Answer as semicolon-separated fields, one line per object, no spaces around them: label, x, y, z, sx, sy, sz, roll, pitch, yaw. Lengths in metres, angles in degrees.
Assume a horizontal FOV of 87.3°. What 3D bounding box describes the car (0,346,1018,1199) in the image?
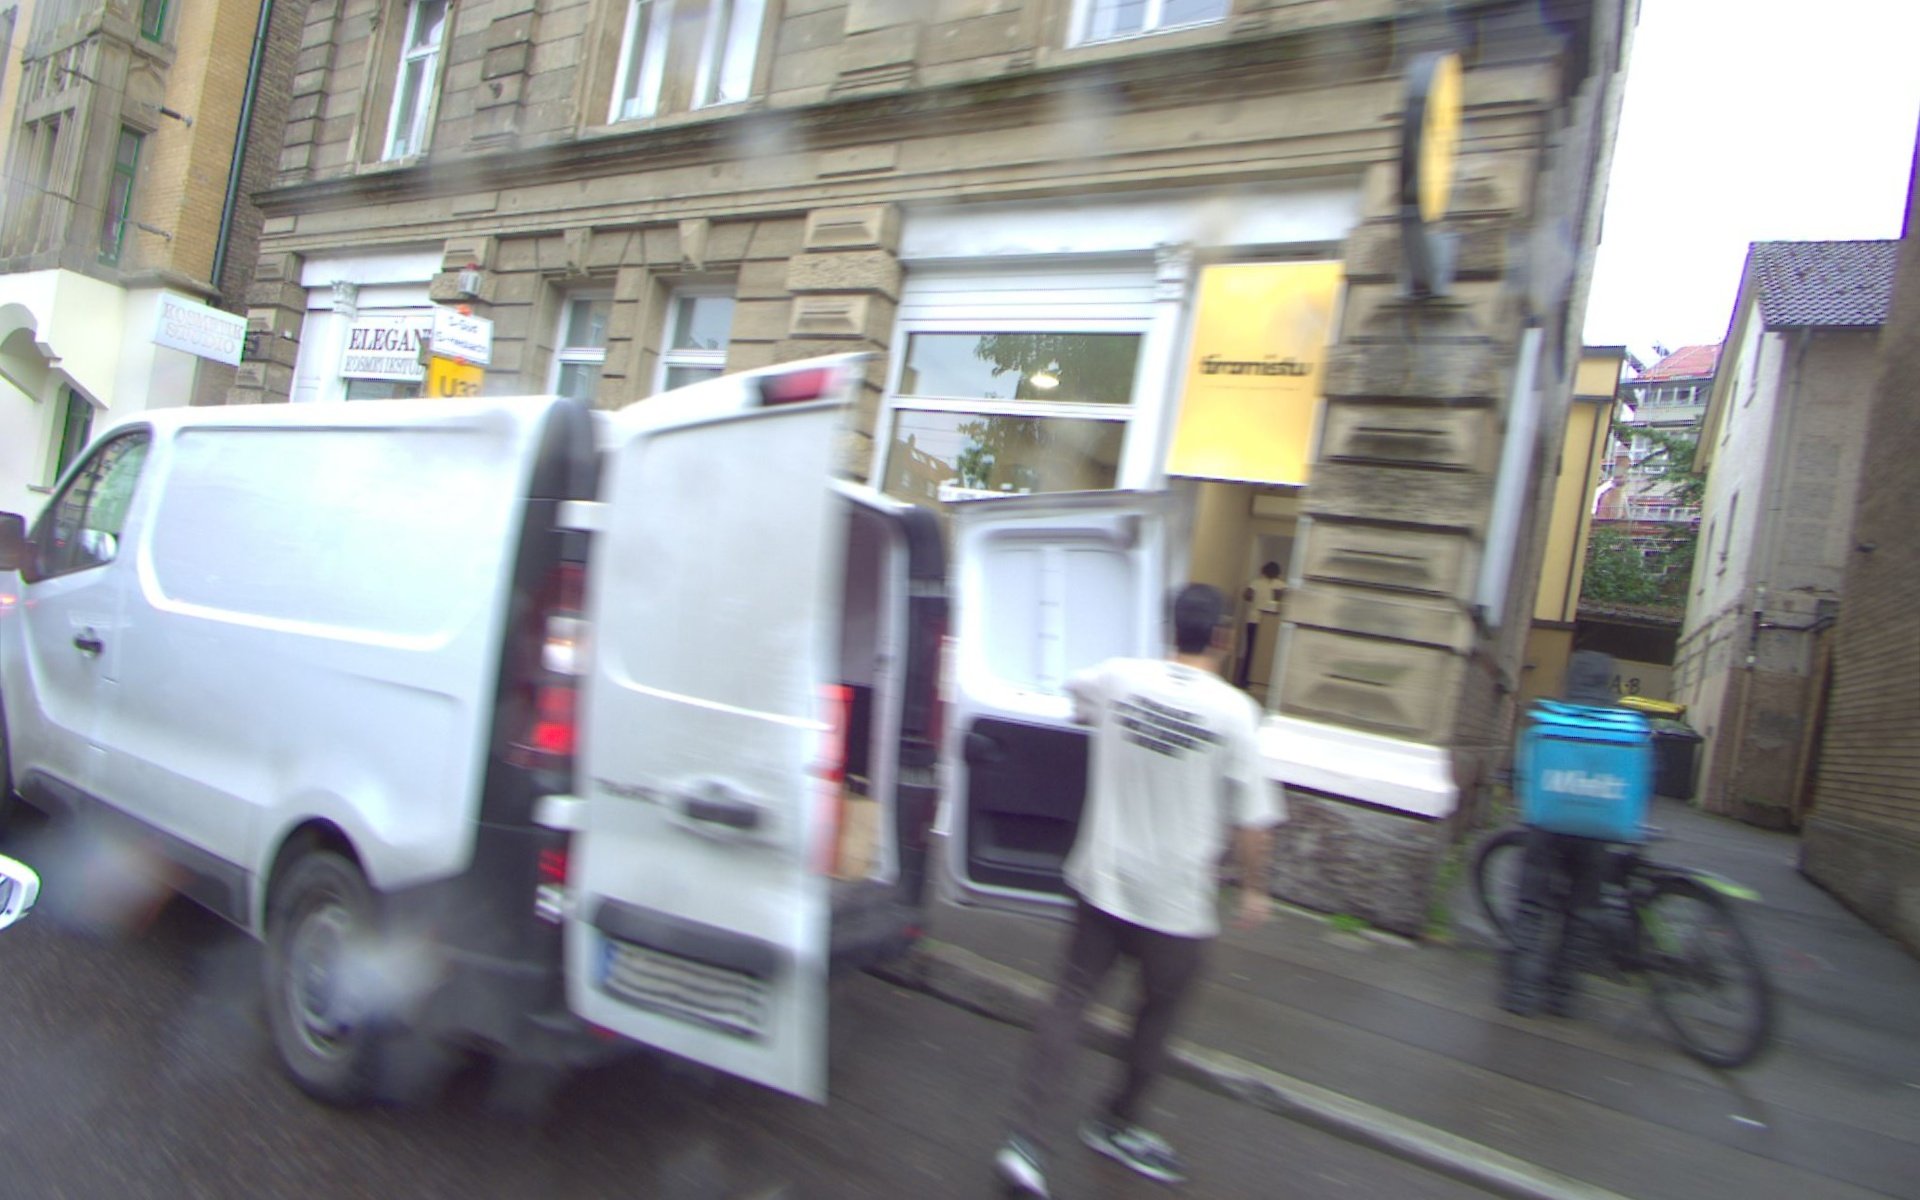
car;-2.334;0.307;4.253;4.609;1.957;1.925;7;-3;33

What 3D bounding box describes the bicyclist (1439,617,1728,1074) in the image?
bicyclist;2.604;0.960;4.310;0.619;1.676;0.851;7;-1;11

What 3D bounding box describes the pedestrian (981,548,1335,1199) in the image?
pedestrian;0.638;0.810;3.009;0.674;1.774;0.836;7;-1;24

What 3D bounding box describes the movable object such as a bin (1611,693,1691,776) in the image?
movable object such as a bin;13.481;2.628;19.617;1.093;1.385;1.489;7;-3;38

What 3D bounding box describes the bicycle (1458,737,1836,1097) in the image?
bicycle;3.009;1.309;4.636;0.456;1.128;1.690;7;-1;0

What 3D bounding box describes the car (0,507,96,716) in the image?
car;-7.173;-0.039;6.257;1.882;1.406;3.970;9;-3;-30
